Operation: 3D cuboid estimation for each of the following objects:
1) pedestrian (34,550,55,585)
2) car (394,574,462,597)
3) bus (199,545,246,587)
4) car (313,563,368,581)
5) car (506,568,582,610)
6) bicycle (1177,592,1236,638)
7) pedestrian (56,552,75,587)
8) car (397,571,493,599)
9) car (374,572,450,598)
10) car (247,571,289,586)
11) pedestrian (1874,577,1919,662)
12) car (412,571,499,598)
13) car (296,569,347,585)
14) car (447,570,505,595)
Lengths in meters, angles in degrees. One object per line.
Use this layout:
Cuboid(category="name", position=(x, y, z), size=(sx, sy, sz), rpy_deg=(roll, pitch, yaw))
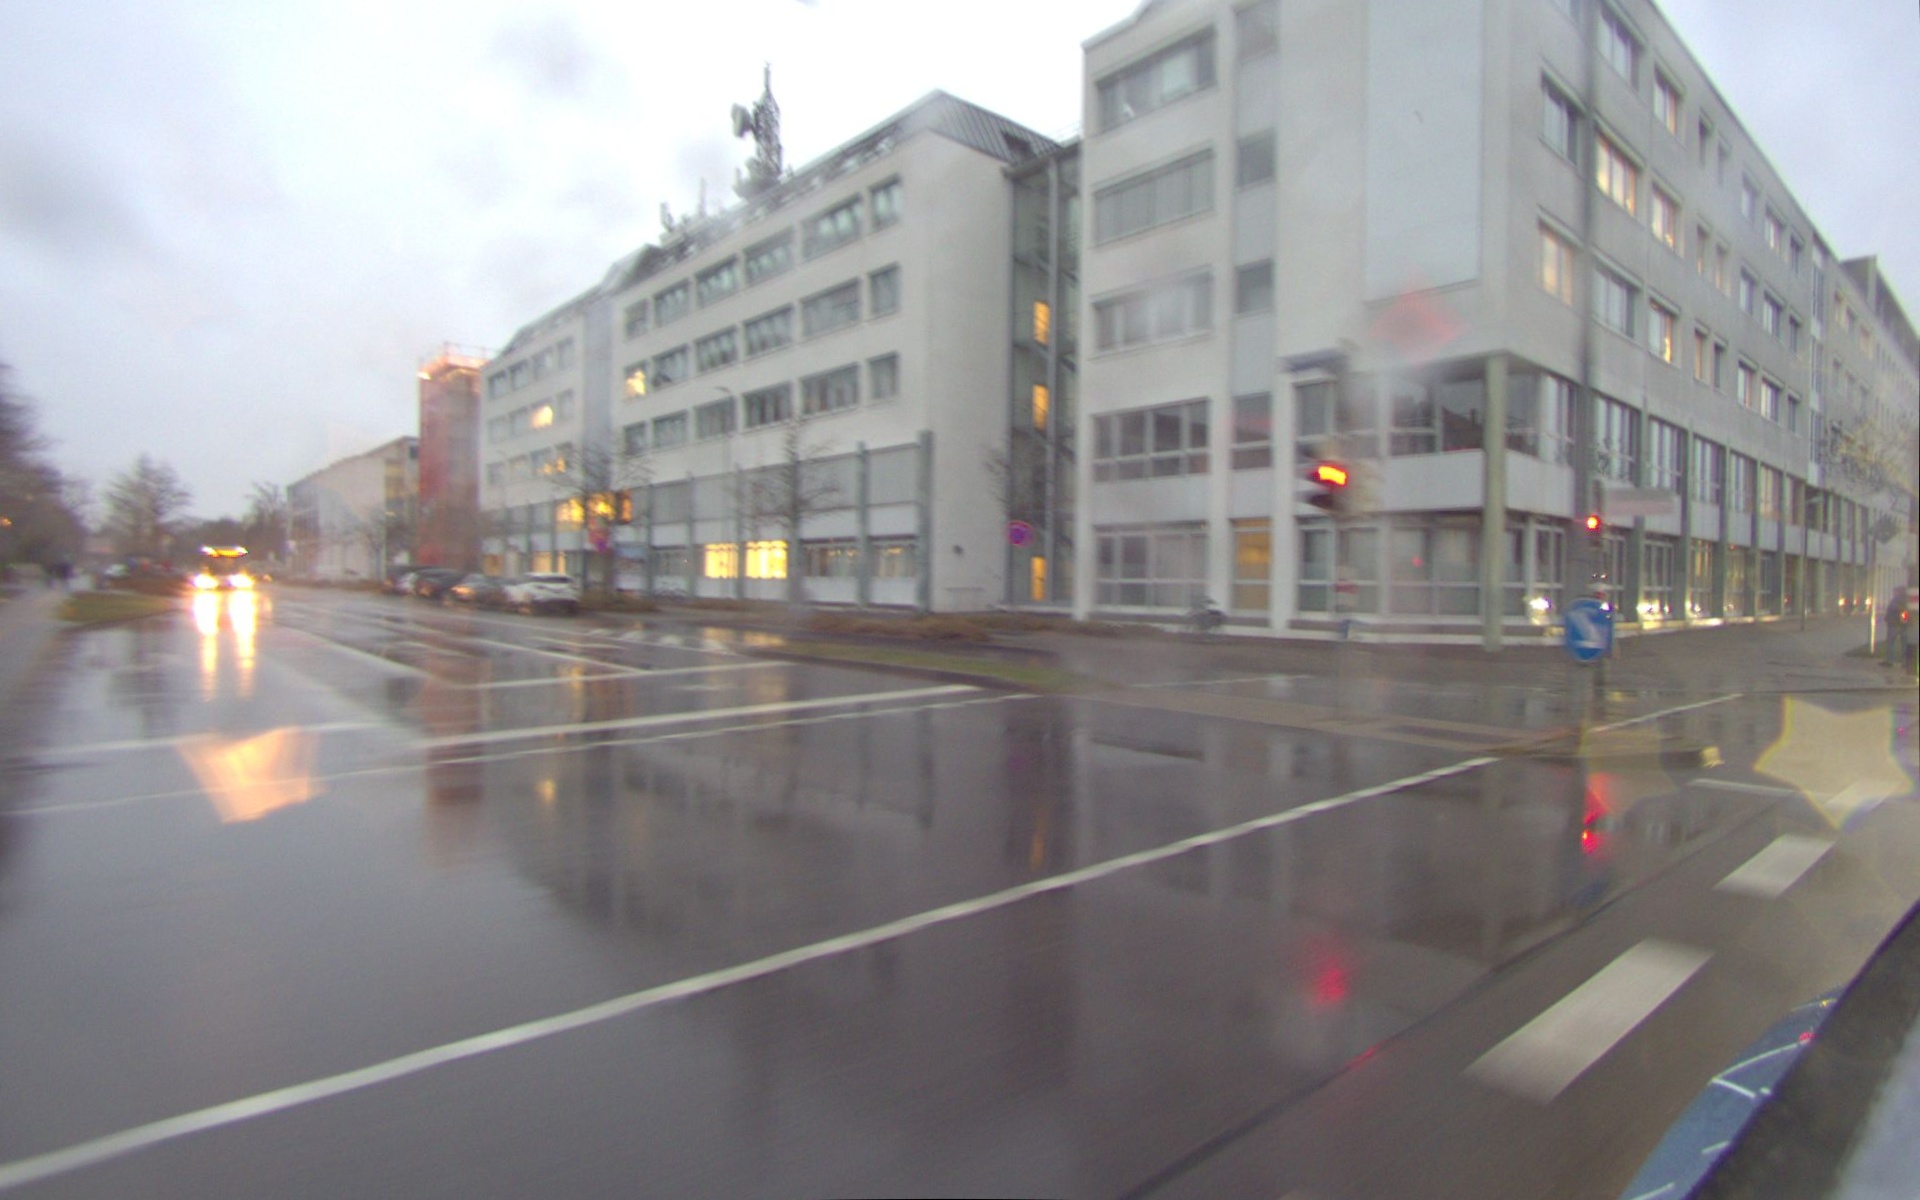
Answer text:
Cuboid(category="pedestrian", position=(-54.284, -1.914, 60.009), size=(0.787, 2.039, 0.641), rpy_deg=(-1, 0, -35))
Cuboid(category="car", position=(-33.260, -0.899, 63.274), size=(3.436, 1.330, 1.703), rpy_deg=(-2, 1, -41))
Cuboid(category="bus", position=(-53.781, -2.425, 73.725), size=(2.257, 2.746, 8.136), rpy_deg=(-1, 0, -40))
Cuboid(category="car", position=(-52.818, -2.373, 86.263), size=(3.797, 1.472, 1.669), rpy_deg=(-2, 1, -39))
Cuboid(category="car", position=(-17.176, -0.456, 41.703), size=(1.965, 1.657, 3.274), rpy_deg=(-2, 1, -40))
Cuboid(category="bicycle", position=(6.258, 0.356, 25.644), size=(1.843, 1.118, 0.471), rpy_deg=(-1, 2, -42))
Cuboid(category="pedestrian", position=(-53.191, -1.828, 60.177), size=(0.801, 2.039, 0.750), rpy_deg=(-1, 0, -40))
Cuboid(category="car", position=(-30.273, -0.905, 59.550), size=(4.727, 1.575, 1.771), rpy_deg=(-2, 1, -39))
Cuboid(category="car", position=(-35.055, -0.977, 64.764), size=(4.053, 1.548, 1.604), rpy_deg=(-2, 1, -41))
Cuboid(category="car", position=(-82.838, -2.588, 121.224), size=(3.931, 1.608, 1.996), rpy_deg=(-2, 1, -41))
Cuboid(category="pedestrian", position=(20.745, 0.421, 22.028), size=(0.843, 1.771, 0.801), rpy_deg=(2, 4, -14))
Cuboid(category="car", position=(-28.240, -0.867, 56.700), size=(4.062, 1.439, 1.770), rpy_deg=(-2, 1, -41))
Cuboid(category="car", position=(-59.130, -2.143, 93.744), size=(3.797, 1.472, 1.669), rpy_deg=(-2, 1, -39))
Cuboid(category="car", position=(-25.014, -0.885, 52.267), size=(3.711, 1.199, 1.516), rpy_deg=(-1, 1, 45))
